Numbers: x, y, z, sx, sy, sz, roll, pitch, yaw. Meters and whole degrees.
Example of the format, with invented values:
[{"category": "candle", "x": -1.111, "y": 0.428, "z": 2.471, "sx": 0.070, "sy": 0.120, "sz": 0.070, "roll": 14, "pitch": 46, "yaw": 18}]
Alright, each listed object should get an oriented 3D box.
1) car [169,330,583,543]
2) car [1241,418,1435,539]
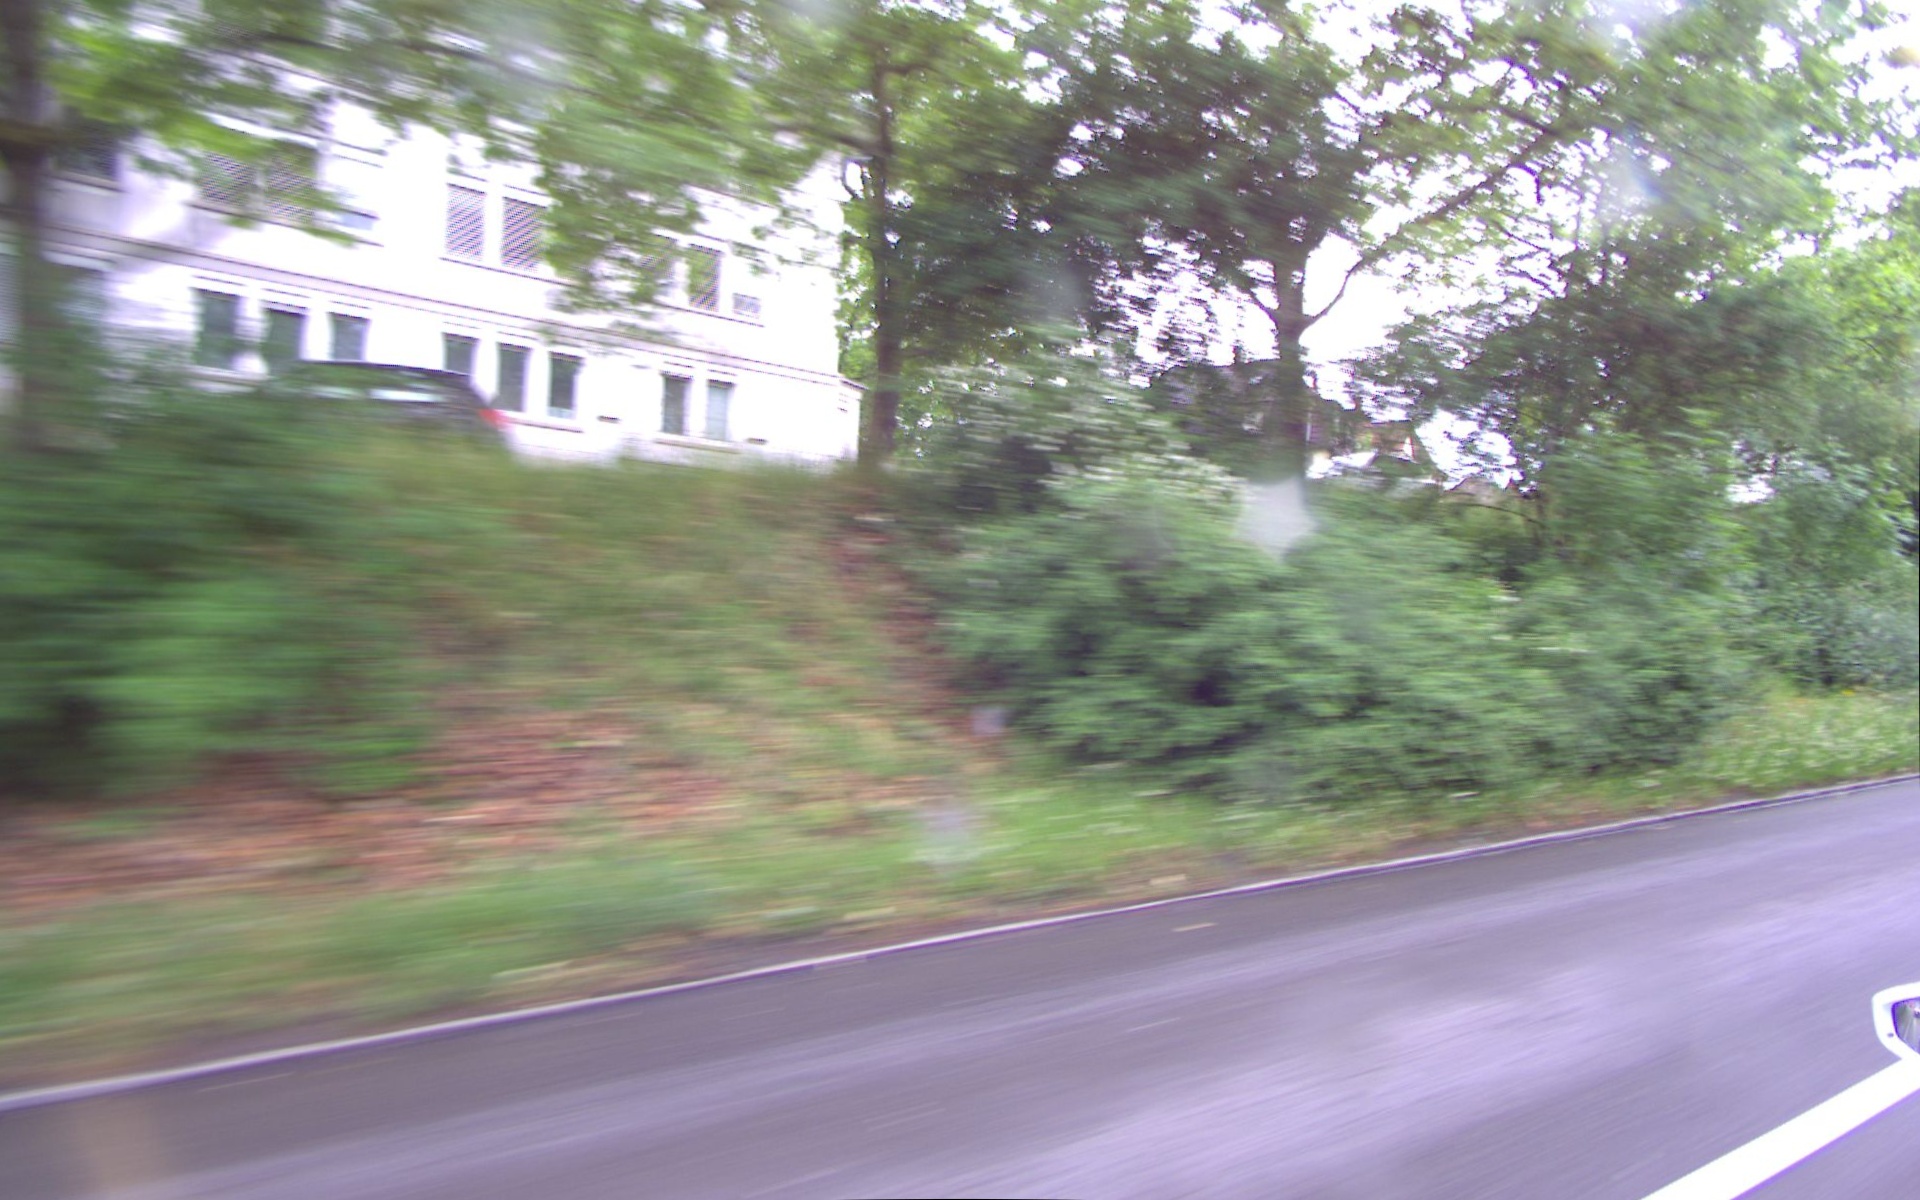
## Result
[{"category": "car", "x": -6.778, "y": -1.760, "z": 12.039, "sx": 3.953, "sy": 1.868, "sz": 1.984, "roll": 2, "pitch": 0, "yaw": -30}, {"category": "car", "x": 8.112, "y": -2.476, "z": 21.468, "sx": 3.961, "sy": 2.040, "sz": 1.980, "roll": 2, "pitch": 0, "yaw": -36}]
